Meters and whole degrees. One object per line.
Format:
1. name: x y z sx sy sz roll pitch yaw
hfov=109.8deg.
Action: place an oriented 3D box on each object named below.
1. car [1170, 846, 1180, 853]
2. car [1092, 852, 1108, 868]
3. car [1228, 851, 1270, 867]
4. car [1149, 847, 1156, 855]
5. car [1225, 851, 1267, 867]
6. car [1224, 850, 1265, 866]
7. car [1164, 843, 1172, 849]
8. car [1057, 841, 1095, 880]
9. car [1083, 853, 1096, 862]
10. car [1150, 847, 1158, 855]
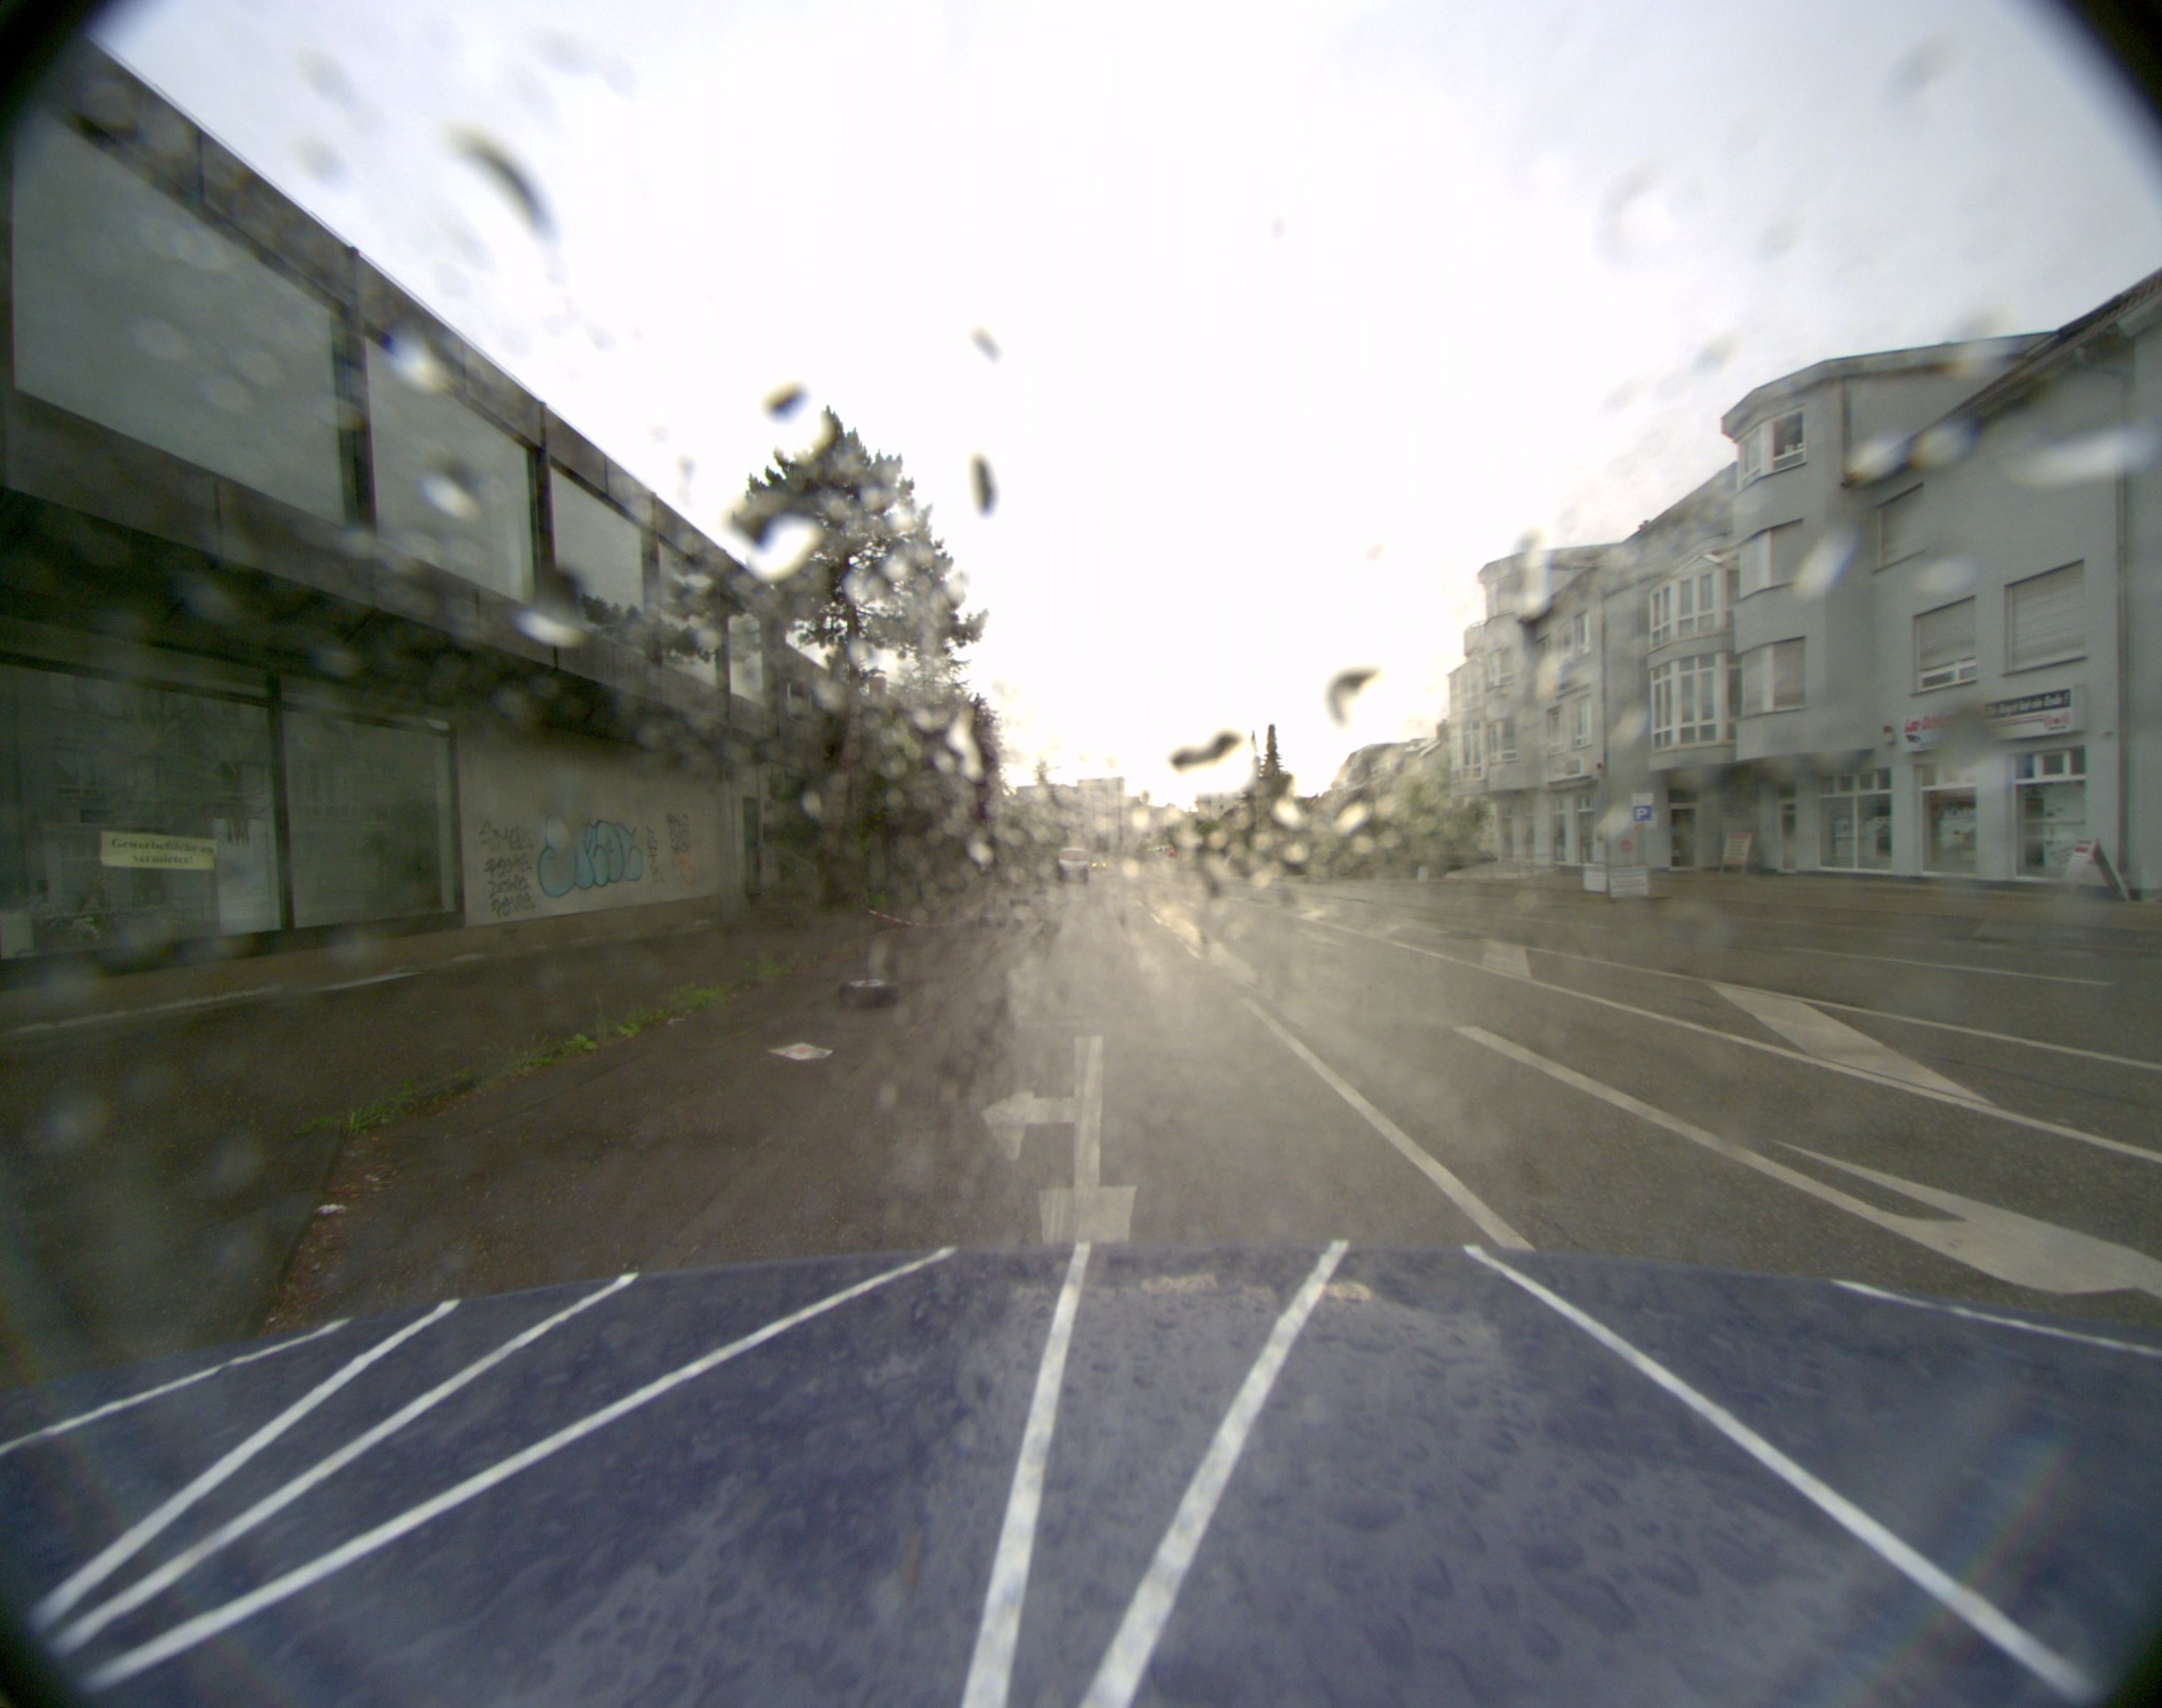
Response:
1. car: 22.399 -1.067 180.785 1.997 1.606 4.003 -1 0 11
2. car: 2.299 0.749 92.622 1.835 1.783 3.837 -3 0 2
3. car: 17.153 0.531 77.709 4.034 1.434 1.813 -3 0 6
4. car: 17.984 -0.768 191.219 1.851 1.753 4.123 -1 0 6
5. car: 17.389 0.541 80.192 4.155 1.434 1.891 -3 0 8
6. car: 17.802 0.464 82.903 4.114 1.536 2.001 -3 0 6
7. car: 24.484 -2.212 214.522 1.850 1.753 4.124 -1 0 11
8. car: -0.281 0.425 51.678 2.397 2.417 6.433 -1 0 1
9. car: 1.467 0.578 133.945 1.912 1.622 3.703 -1 0 5
10. car: 17.680 -0.648 184.083 1.851 1.870 4.122 -1 0 5
